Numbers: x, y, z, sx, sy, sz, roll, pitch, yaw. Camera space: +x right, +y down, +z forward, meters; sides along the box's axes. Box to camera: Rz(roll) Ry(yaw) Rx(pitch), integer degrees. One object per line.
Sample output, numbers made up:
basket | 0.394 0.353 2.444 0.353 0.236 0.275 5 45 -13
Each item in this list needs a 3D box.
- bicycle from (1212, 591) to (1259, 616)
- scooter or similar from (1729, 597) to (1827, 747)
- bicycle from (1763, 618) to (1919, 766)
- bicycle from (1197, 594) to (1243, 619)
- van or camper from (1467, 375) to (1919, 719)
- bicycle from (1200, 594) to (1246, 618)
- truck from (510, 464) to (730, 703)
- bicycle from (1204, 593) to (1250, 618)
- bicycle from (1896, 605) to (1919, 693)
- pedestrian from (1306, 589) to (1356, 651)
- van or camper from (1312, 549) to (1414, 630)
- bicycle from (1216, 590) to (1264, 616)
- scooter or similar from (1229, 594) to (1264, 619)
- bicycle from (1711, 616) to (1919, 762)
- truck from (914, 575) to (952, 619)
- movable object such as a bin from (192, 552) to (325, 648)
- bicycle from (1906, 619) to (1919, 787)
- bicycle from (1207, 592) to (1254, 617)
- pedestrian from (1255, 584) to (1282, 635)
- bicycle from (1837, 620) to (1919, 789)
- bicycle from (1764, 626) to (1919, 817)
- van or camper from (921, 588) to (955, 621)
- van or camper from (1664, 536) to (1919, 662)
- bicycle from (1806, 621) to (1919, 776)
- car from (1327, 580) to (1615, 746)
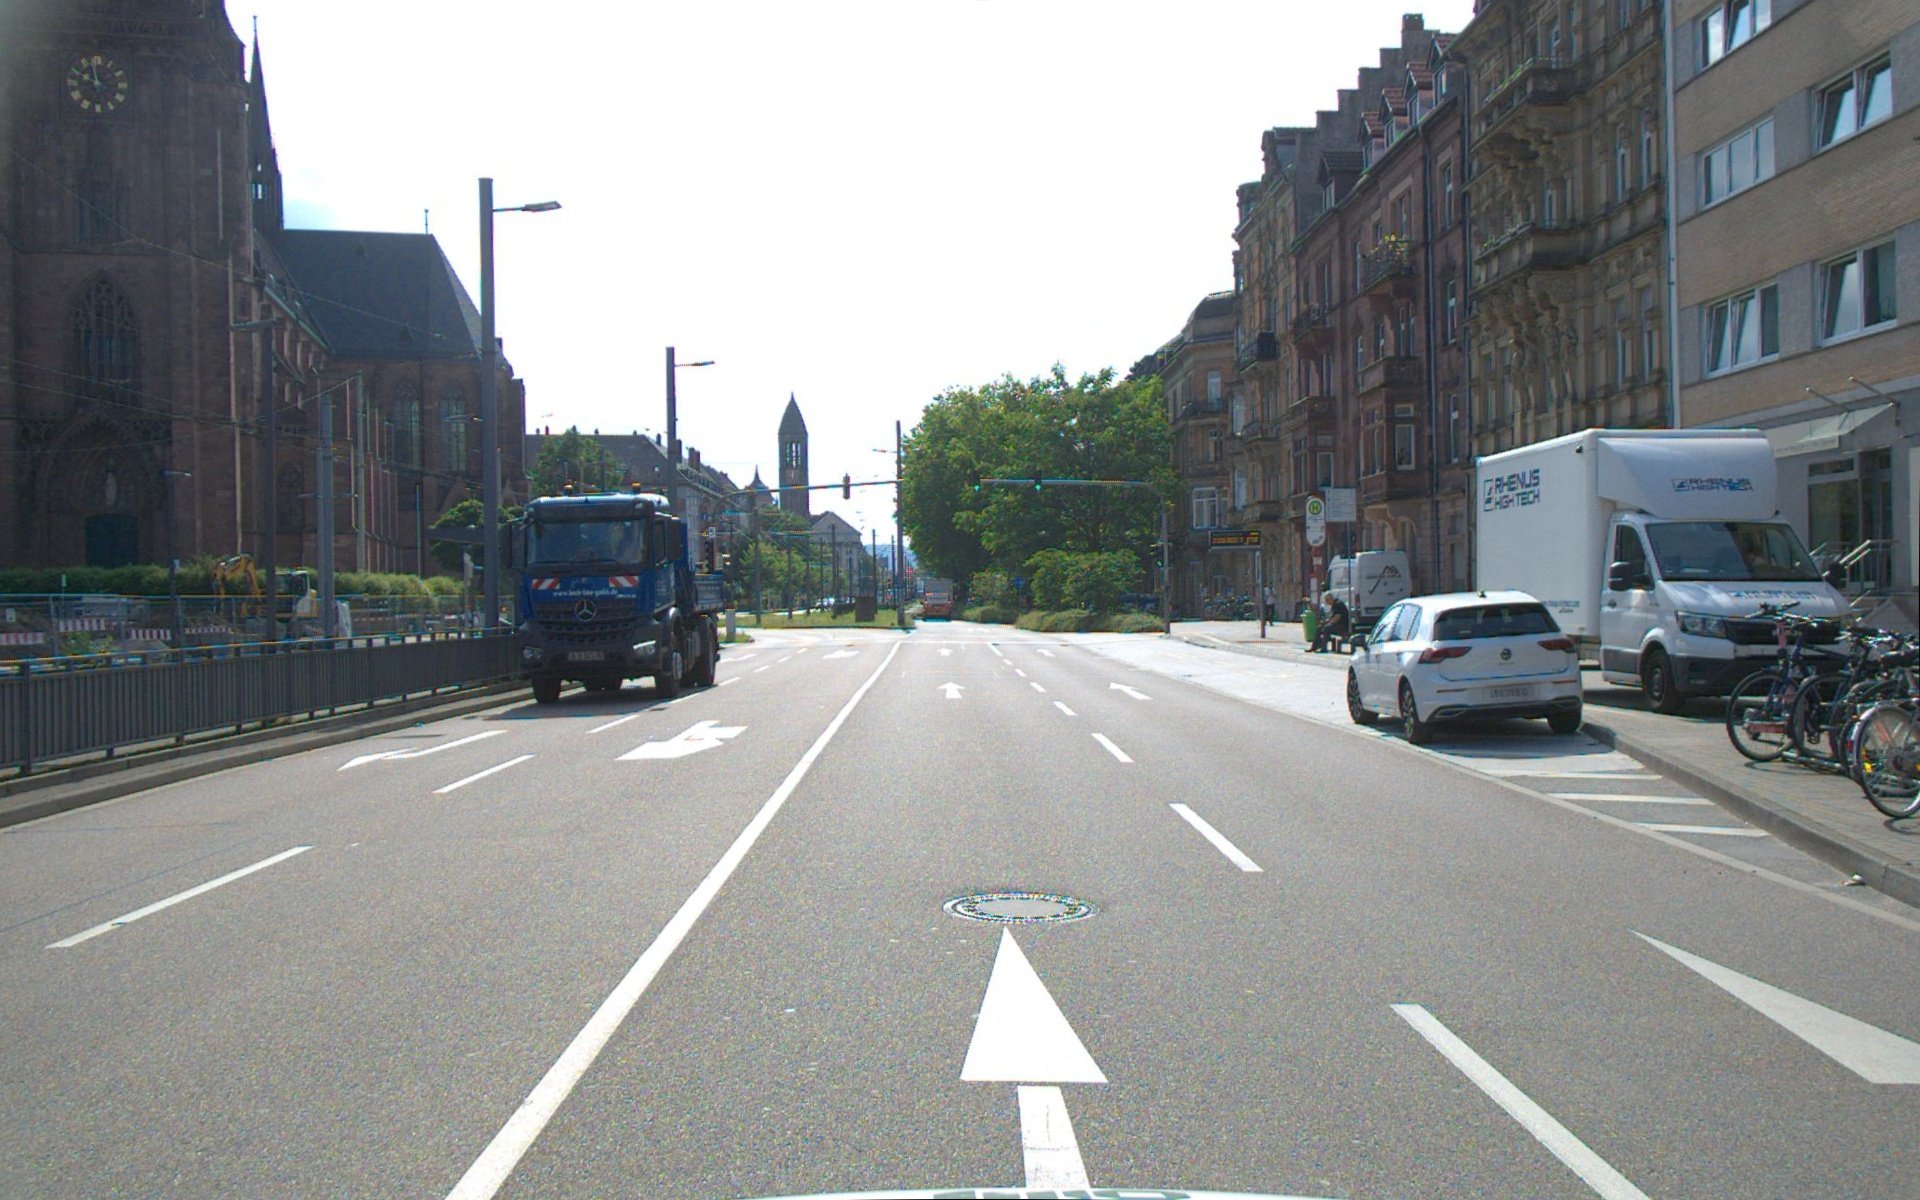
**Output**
bicycle | 13.283 0.170 79.775 2.147 1.201 0.683 -1 0 -6
scooter or similar | 7.075 0.597 14.351 0.361 1.235 1.253 1 0 8
bicycle | 7.112 0.697 12.748 1.724 1.104 0.372 0 1 -7
bicycle | 12.970 0.331 82.533 2.147 1.201 0.683 -1 0 -6
van or camper | 8.712 -0.539 20.275 2.656 3.389 7.640 -1 0 0
bicycle | 13.001 0.291 81.860 2.147 1.201 0.683 -1 0 -6
truck | -5.871 -0.274 29.735 2.413 3.712 7.448 -1 0 -1
bicycle | 13.091 0.248 81.125 2.147 1.201 0.683 -1 0 -6
bicycle | 12.078 0.561 19.655 0.689 1.066 2.208 1 -4 1
pedestrian | 8.279 0.445 36.913 0.737 1.339 0.810 2 -1 -39
van or camper | 13.393 -0.347 55.321 1.953 2.517 5.564 -1 0 -1
bicycle | 13.366 0.125 79.012 2.147 1.201 0.683 -1 0 -6
scooter or similar | 13.259 0.301 76.462 1.533 1.117 0.451 -1 0 3
bicycle | 6.844 0.695 13.211 1.730 1.104 0.371 0 1 -17
truck | -2.282 -0.245 142.699 3.105 3.344 7.294 0 -3 0
movable object such as a bin | -28.969 -0.013 68.507 2.609 3.796 5.598 0 1 7
bicycle | 7.170 0.679 10.995 1.728 1.104 0.371 0 1 -13
bicycle | 13.170 0.207 80.421 2.147 1.201 0.683 -1 0 -6
pedestrian | 12.635 0.374 67.712 0.868 2.049 0.996 1 0 -1
bicycle | 6.912 0.697 11.373 1.728 1.104 0.371 0 1 -13
bicycle | 5.725 0.726 10.222 1.573 1.104 0.370 0 1 -21
van or camper | -1.496 0.347 112.270 1.970 1.948 4.517 2 -4 -5
van or camper | 14.721 -0.039 29.438 1.953 1.938 5.297 -3 0 -1
bicycle | 7.164 0.712 12.201 1.724 1.104 0.372 0 1 -7
car | 5.380 0.616 18.019 1.754 1.462 4.343 -4 0 1
